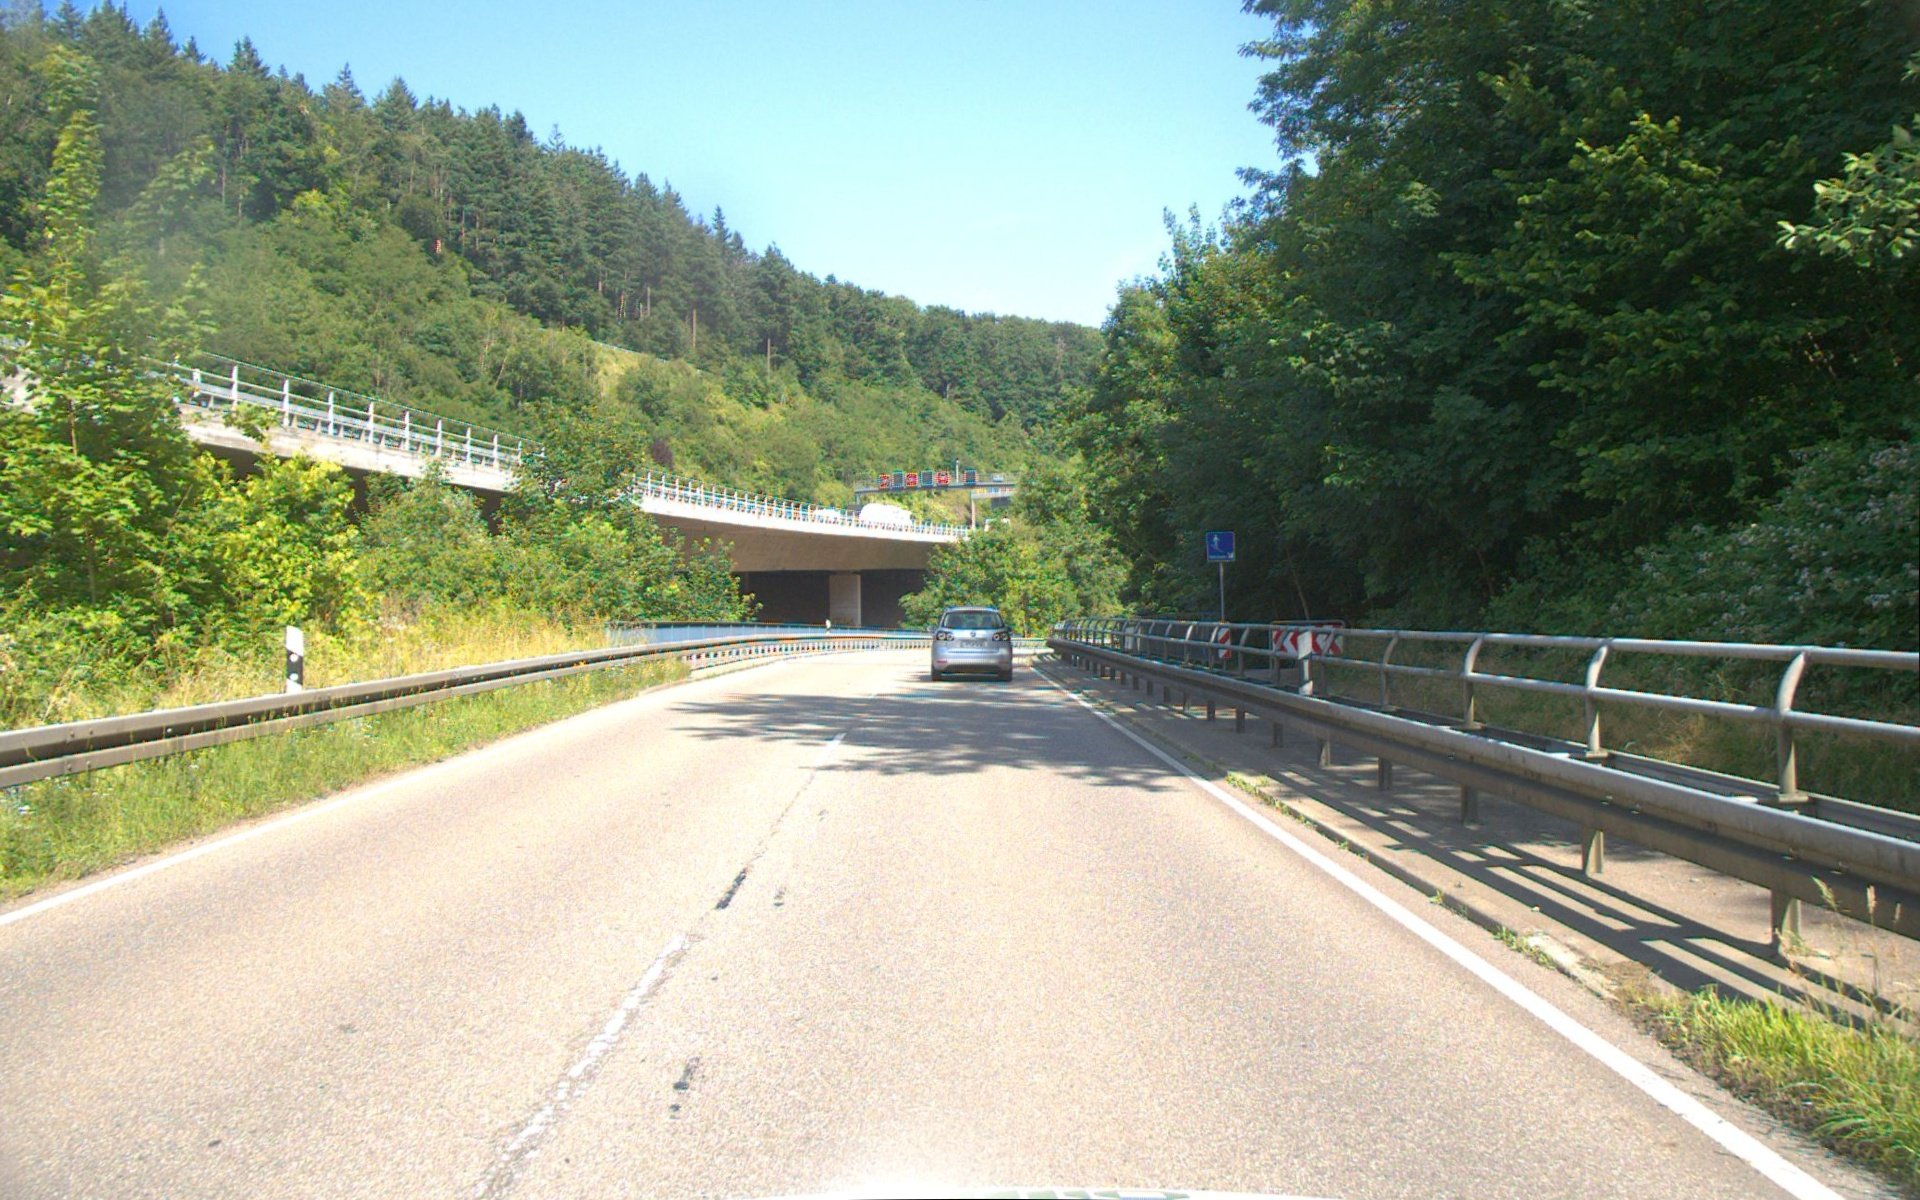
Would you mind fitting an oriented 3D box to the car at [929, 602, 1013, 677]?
[{"bbox_3d":[0.208,0.818,36.070,1.715,1.546,4.158,0,0,-1],"label":"car"}]

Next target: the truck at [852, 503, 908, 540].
[{"bbox_3d":[-8.119,-7.986,169.275,3.298,3.413,10.185,1,0,11],"label":"truck"}]

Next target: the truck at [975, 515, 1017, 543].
[{"bbox_3d":[4.990,-9.700,227.385,3.679,3.444,10.517,0,1,14],"label":"truck"}]
